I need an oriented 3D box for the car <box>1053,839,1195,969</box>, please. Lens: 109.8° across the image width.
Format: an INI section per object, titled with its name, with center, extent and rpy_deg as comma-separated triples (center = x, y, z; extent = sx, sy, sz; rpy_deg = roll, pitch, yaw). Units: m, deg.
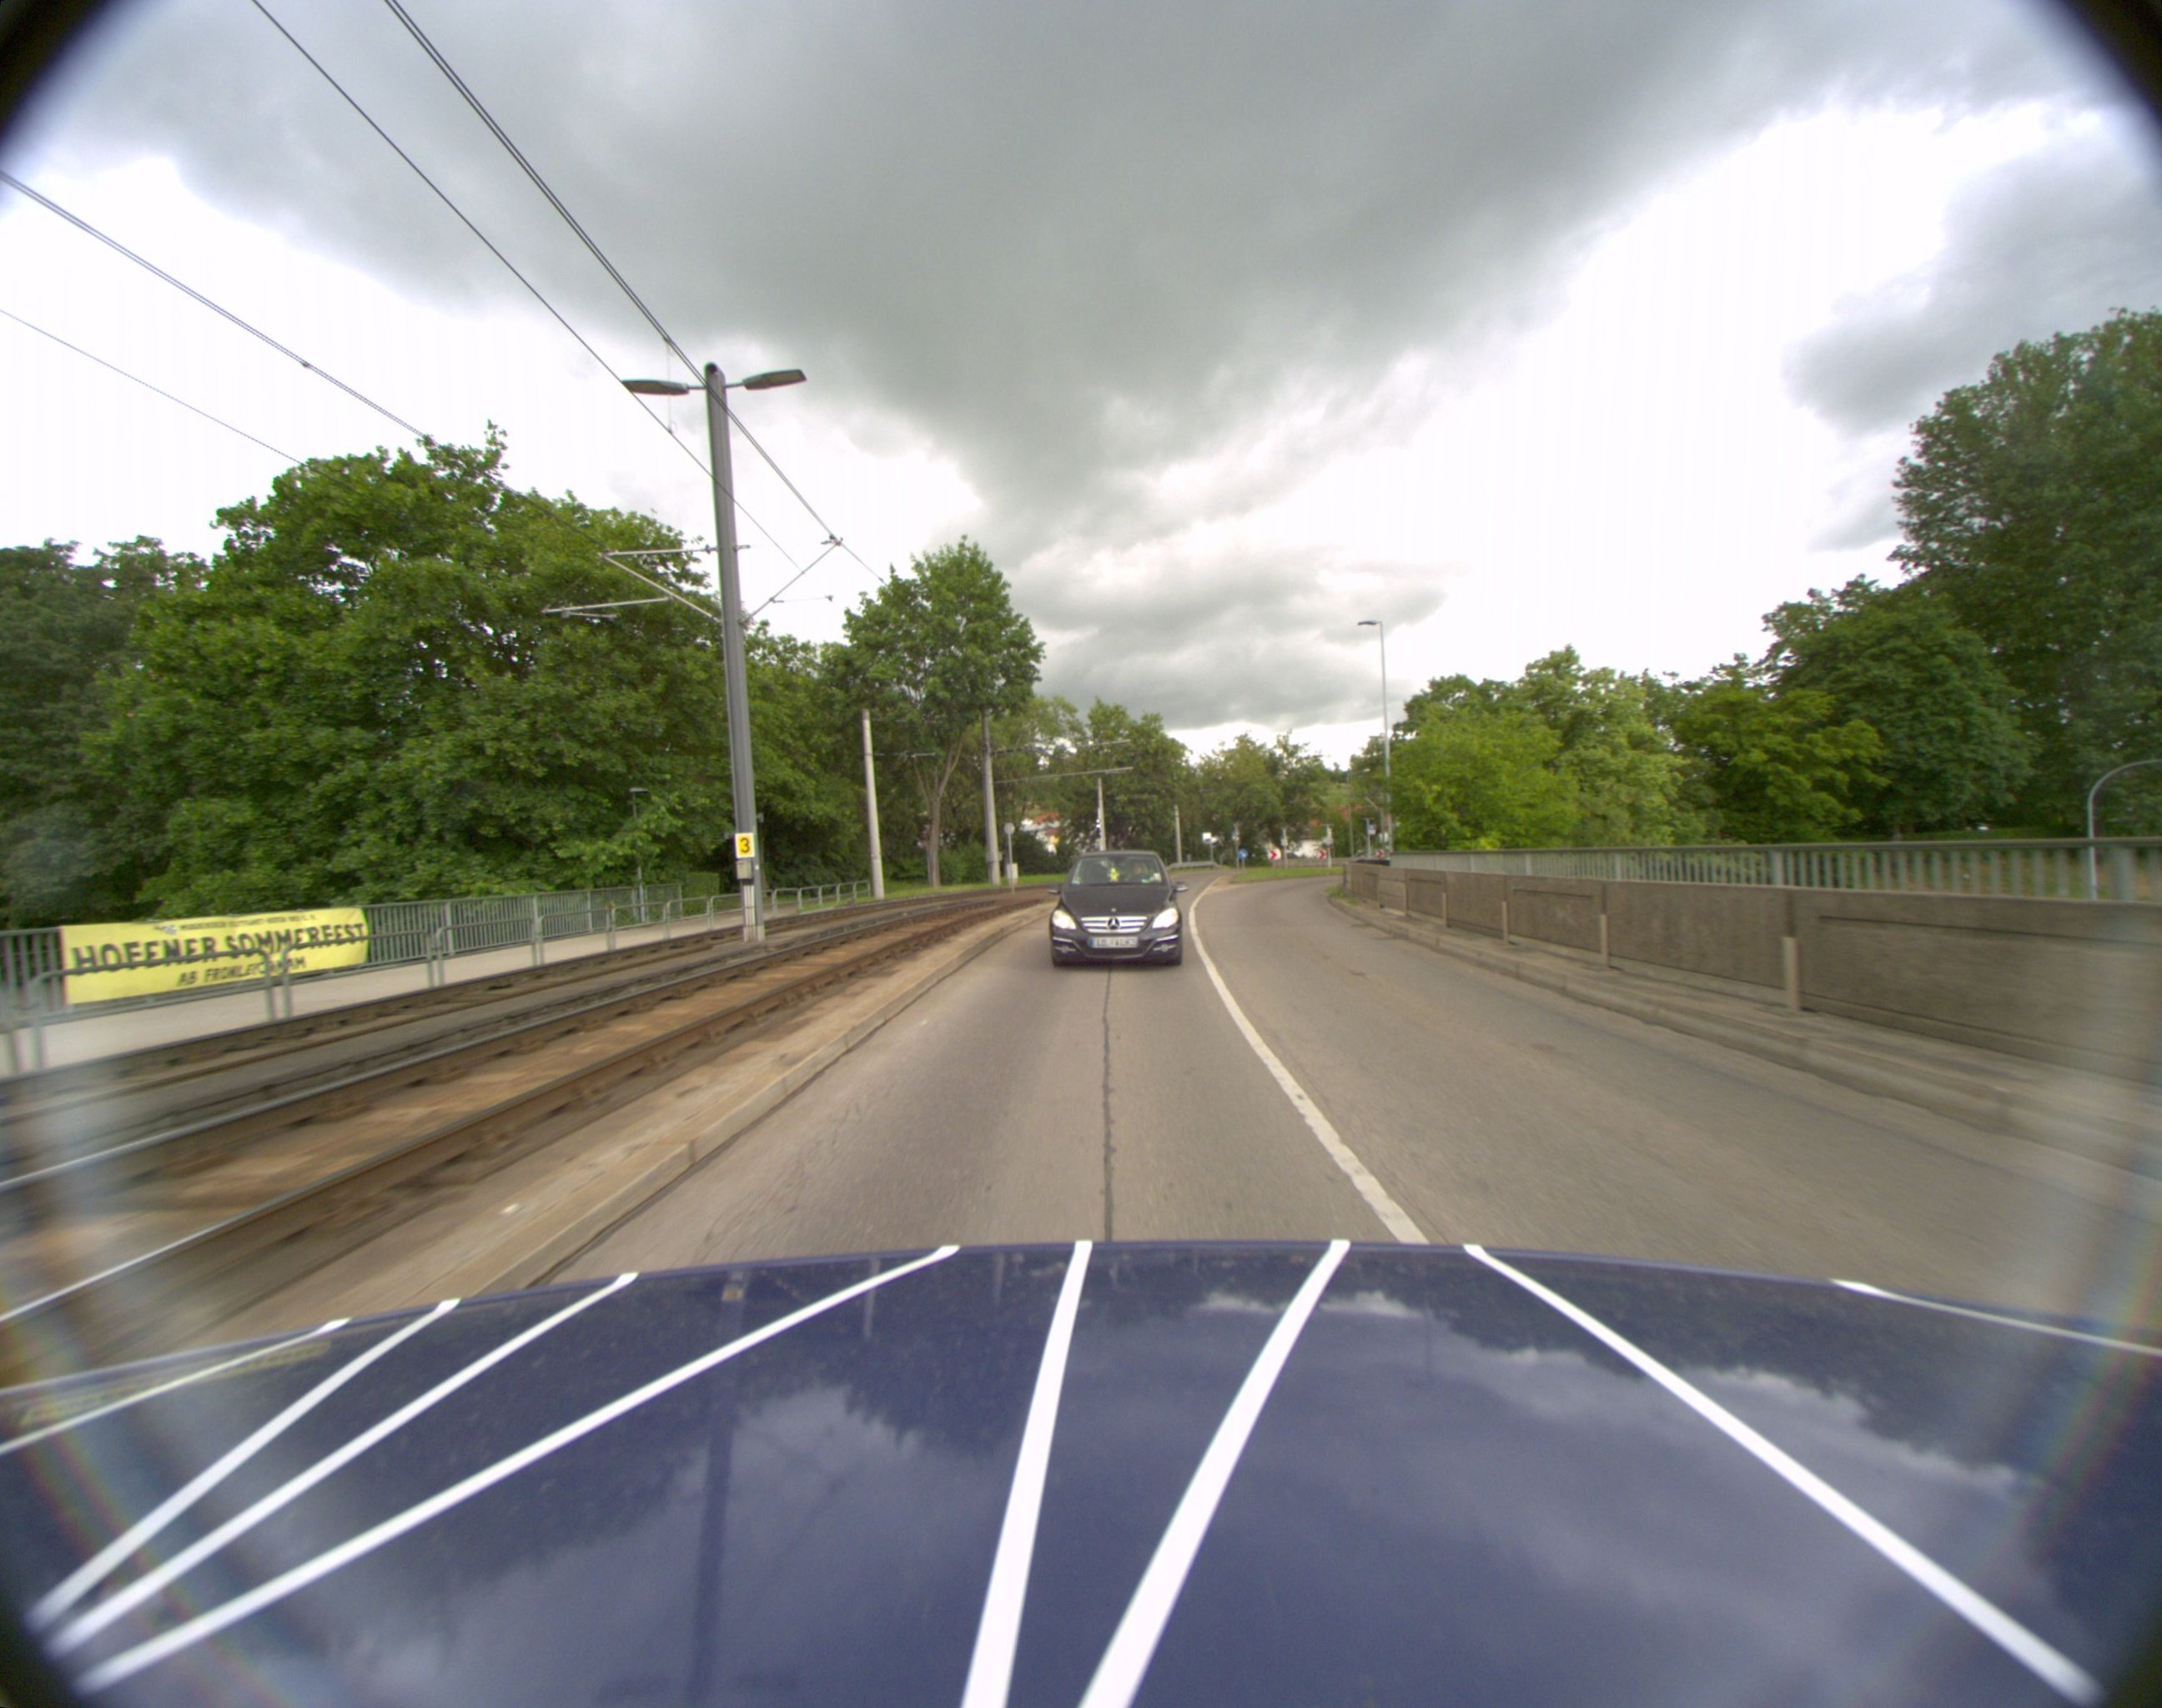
[car]
center = 0.724, 0.594, 11.633
extent = 1.711, 1.574, 4.443
rpy_deg = -2, 1, 5
